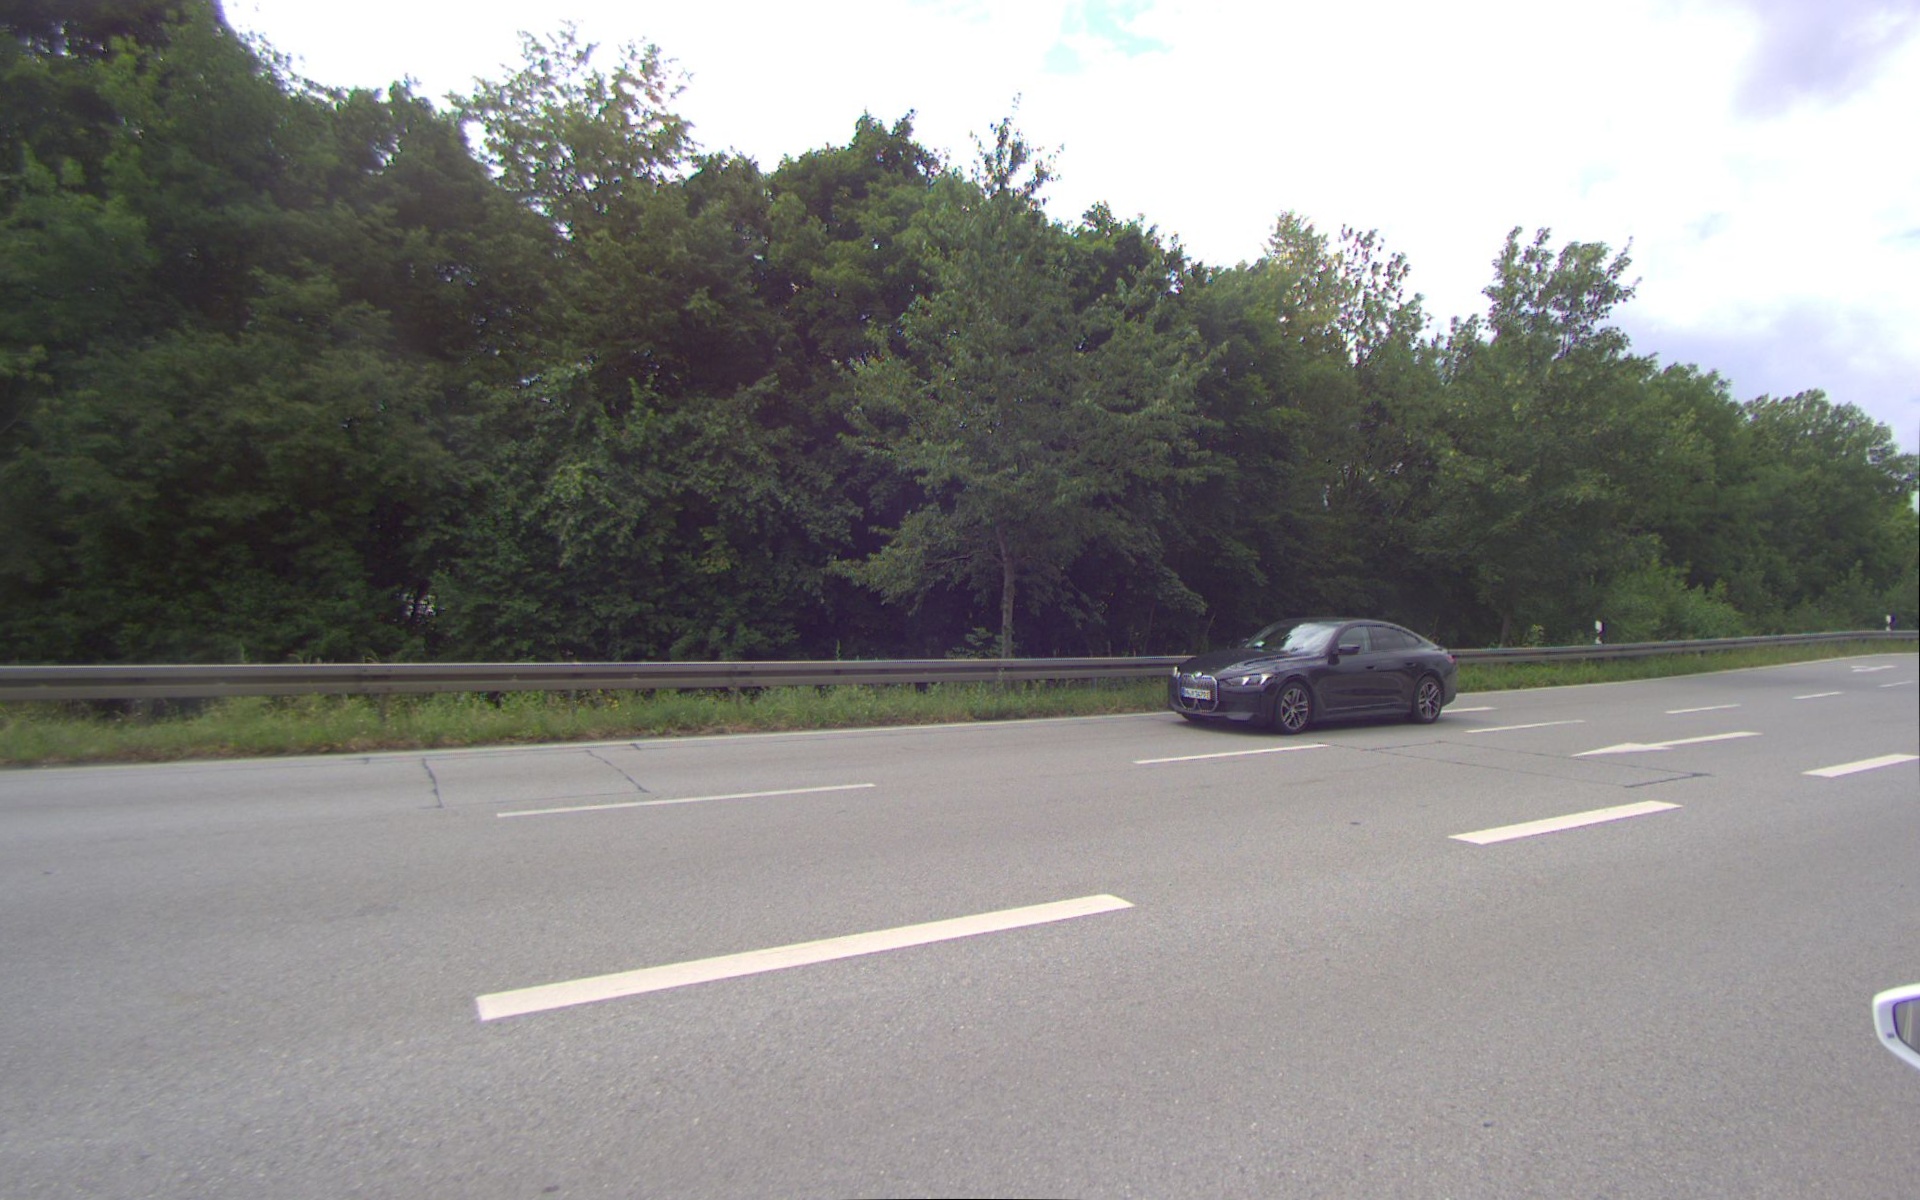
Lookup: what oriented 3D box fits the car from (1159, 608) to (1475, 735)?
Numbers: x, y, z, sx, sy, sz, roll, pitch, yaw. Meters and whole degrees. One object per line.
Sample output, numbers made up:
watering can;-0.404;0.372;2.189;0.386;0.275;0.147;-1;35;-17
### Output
car;5.058;0.898;14.038;4.496;1.518;1.708;1;0;-31
